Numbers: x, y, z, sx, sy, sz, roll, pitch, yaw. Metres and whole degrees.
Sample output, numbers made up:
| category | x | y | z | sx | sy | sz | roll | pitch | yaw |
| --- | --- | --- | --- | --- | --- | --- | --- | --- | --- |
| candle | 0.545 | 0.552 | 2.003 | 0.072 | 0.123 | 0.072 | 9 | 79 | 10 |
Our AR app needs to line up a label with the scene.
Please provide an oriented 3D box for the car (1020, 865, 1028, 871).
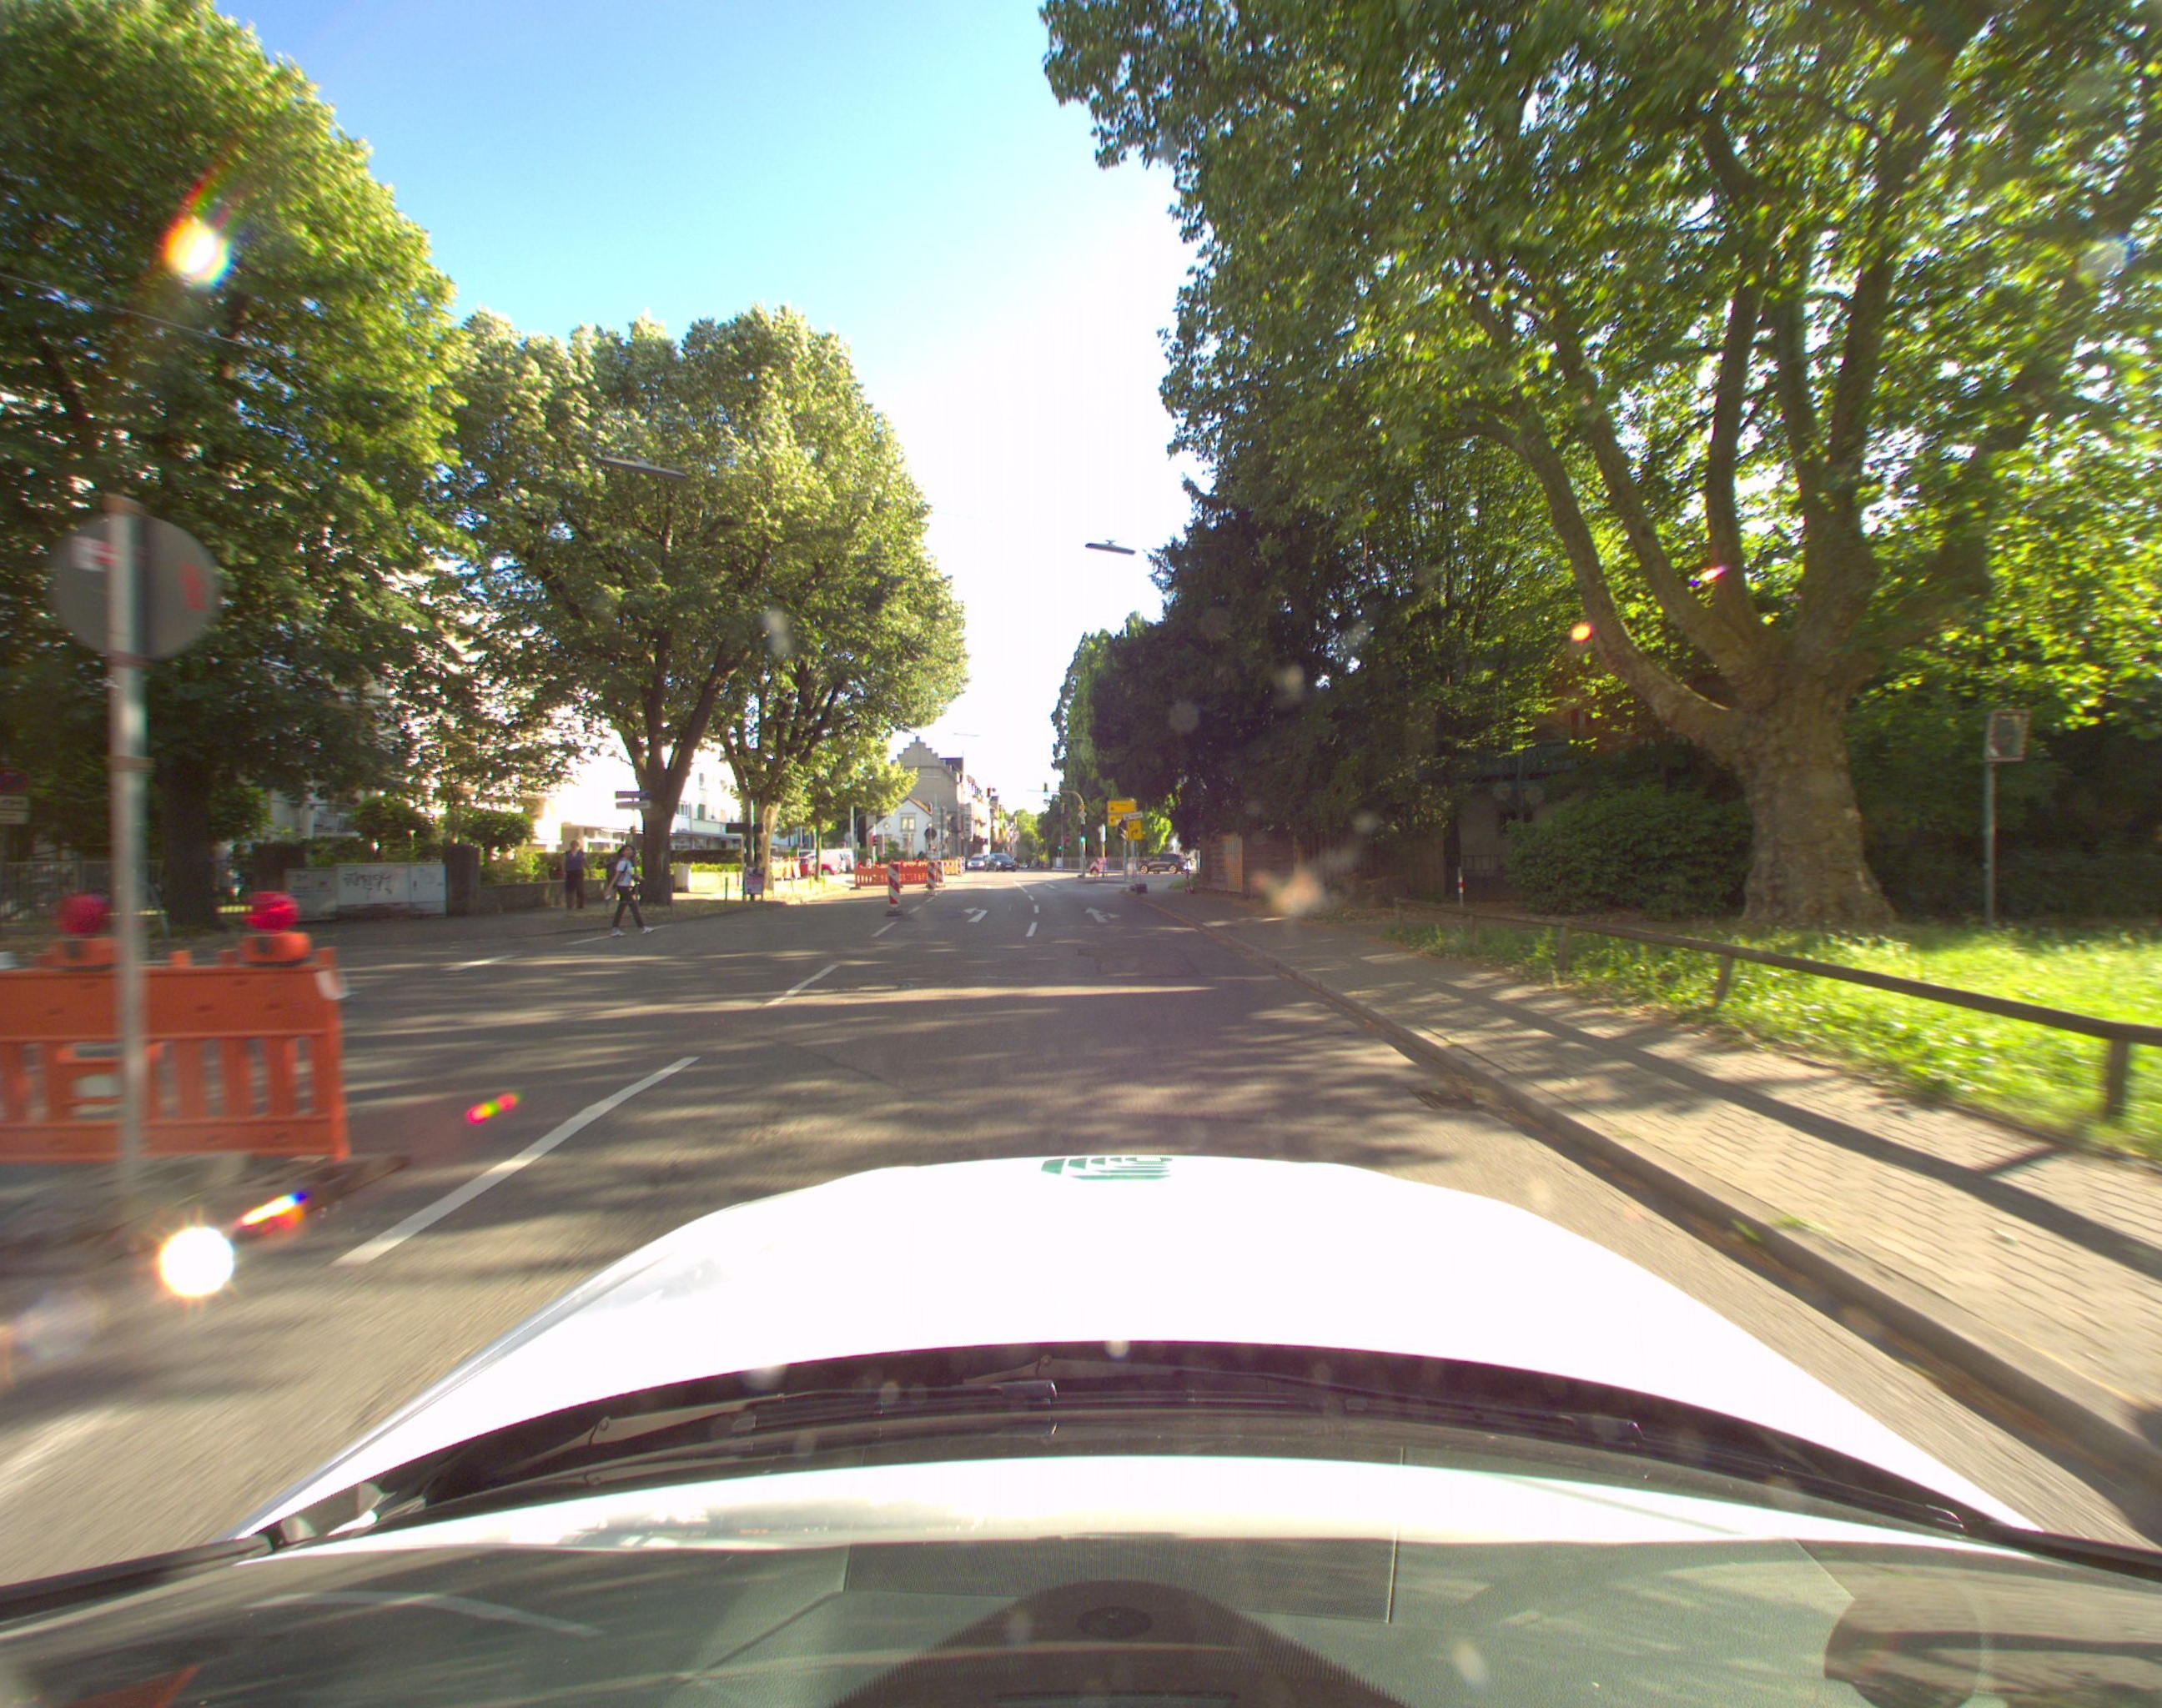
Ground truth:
| category | x | y | z | sx | sy | sz | roll | pitch | yaw |
| --- | --- | --- | --- | --- | --- | --- | --- | --- | --- |
| car | -16.091 | 3.964 | 229.305 | 1.988 | 1.491 | 4.467 | -1 | 0 | -2 |

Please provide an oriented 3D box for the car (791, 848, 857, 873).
| category | x | y | z | sx | sy | sz | roll | pitch | yaw |
| --- | --- | --- | --- | --- | --- | --- | --- | --- | --- |
| car | -20.410 | 0.510 | 64.926 | 4.663 | 1.965 | 2.112 | 1 | 0 | -8 |

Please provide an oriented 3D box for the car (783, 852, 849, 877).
| category | x | y | z | sx | sy | sz | roll | pitch | yaw |
| --- | --- | --- | --- | --- | --- | --- | --- | --- | --- |
| car | -20.156 | 0.769 | 62.091 | 4.303 | 1.852 | 1.998 | 1 | 0 | -3 |

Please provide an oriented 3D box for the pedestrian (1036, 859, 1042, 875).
| category | x | y | z | sx | sy | sz | roll | pitch | yaw |
| --- | --- | --- | --- | --- | --- | --- | --- | --- | --- |
| pedestrian | -4.668 | 1.446 | 91.218 | 0.601 | 1.693 | 0.611 | -1 | 0 | -3 |

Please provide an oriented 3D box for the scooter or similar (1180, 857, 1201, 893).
| category | x | y | z | sx | sy | sz | roll | pitch | yaw |
| --- | --- | --- | --- | --- | --- | --- | --- | --- | --- |
| scooter or similar | 3.753 | 0.706 | 27.908 | 0.437 | 1.202 | 1.257 | -3 | 0 | -2 |

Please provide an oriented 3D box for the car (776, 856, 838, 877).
| category | x | y | z | sx | sy | sz | roll | pitch | yaw |
| --- | --- | --- | --- | --- | --- | --- | --- | --- | --- |
| car | -19.953 | 0.910 | 59.524 | 3.990 | 1.479 | 1.994 | 0 | 0 | -10 |

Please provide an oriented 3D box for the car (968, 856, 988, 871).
| category | x | y | z | sx | sy | sz | roll | pitch | yaw |
| --- | --- | --- | --- | --- | --- | --- | --- | --- | --- |
| car | -11.209 | 0.982 | 88.456 | 1.778 | 1.543 | 3.982 | 1 | 0 | -14 |

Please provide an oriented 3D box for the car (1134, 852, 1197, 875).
| category | x | y | z | sx | sy | sz | roll | pitch | yaw |
| --- | --- | --- | --- | --- | --- | --- | --- | --- | --- |
| car | 6.721 | 0.749 | 64.689 | 4.604 | 1.670 | 2.012 | -1 | -3 | 40 |

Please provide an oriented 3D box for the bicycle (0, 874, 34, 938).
| category | x | y | z | sx | sy | sz | roll | pitch | yaw |
| --- | --- | --- | --- | --- | --- | --- | --- | --- | --- |
| bicycle | -19.005 | 0.901 | 13.467 | 0.742 | 1.077 | 1.937 | 1 | 0 | 7 |

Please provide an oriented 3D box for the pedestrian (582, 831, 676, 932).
| category | x | y | z | sx | sy | sz | roll | pitch | yaw |
| --- | --- | --- | --- | --- | --- | --- | --- | --- | --- |
| pedestrian | -8.360 | 0.492 | 15.112 | 1.039 | 1.781 | 1.192 | 0 | 0 | 3 |

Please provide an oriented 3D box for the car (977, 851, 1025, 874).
| category | x | y | z | sx | sy | sz | roll | pitch | yaw |
| --- | --- | --- | --- | --- | --- | --- | --- | --- | --- |
| car | -6.987 | 0.713 | 70.714 | 2.011 | 1.815 | 4.201 | -3 | 3 | -41 |
